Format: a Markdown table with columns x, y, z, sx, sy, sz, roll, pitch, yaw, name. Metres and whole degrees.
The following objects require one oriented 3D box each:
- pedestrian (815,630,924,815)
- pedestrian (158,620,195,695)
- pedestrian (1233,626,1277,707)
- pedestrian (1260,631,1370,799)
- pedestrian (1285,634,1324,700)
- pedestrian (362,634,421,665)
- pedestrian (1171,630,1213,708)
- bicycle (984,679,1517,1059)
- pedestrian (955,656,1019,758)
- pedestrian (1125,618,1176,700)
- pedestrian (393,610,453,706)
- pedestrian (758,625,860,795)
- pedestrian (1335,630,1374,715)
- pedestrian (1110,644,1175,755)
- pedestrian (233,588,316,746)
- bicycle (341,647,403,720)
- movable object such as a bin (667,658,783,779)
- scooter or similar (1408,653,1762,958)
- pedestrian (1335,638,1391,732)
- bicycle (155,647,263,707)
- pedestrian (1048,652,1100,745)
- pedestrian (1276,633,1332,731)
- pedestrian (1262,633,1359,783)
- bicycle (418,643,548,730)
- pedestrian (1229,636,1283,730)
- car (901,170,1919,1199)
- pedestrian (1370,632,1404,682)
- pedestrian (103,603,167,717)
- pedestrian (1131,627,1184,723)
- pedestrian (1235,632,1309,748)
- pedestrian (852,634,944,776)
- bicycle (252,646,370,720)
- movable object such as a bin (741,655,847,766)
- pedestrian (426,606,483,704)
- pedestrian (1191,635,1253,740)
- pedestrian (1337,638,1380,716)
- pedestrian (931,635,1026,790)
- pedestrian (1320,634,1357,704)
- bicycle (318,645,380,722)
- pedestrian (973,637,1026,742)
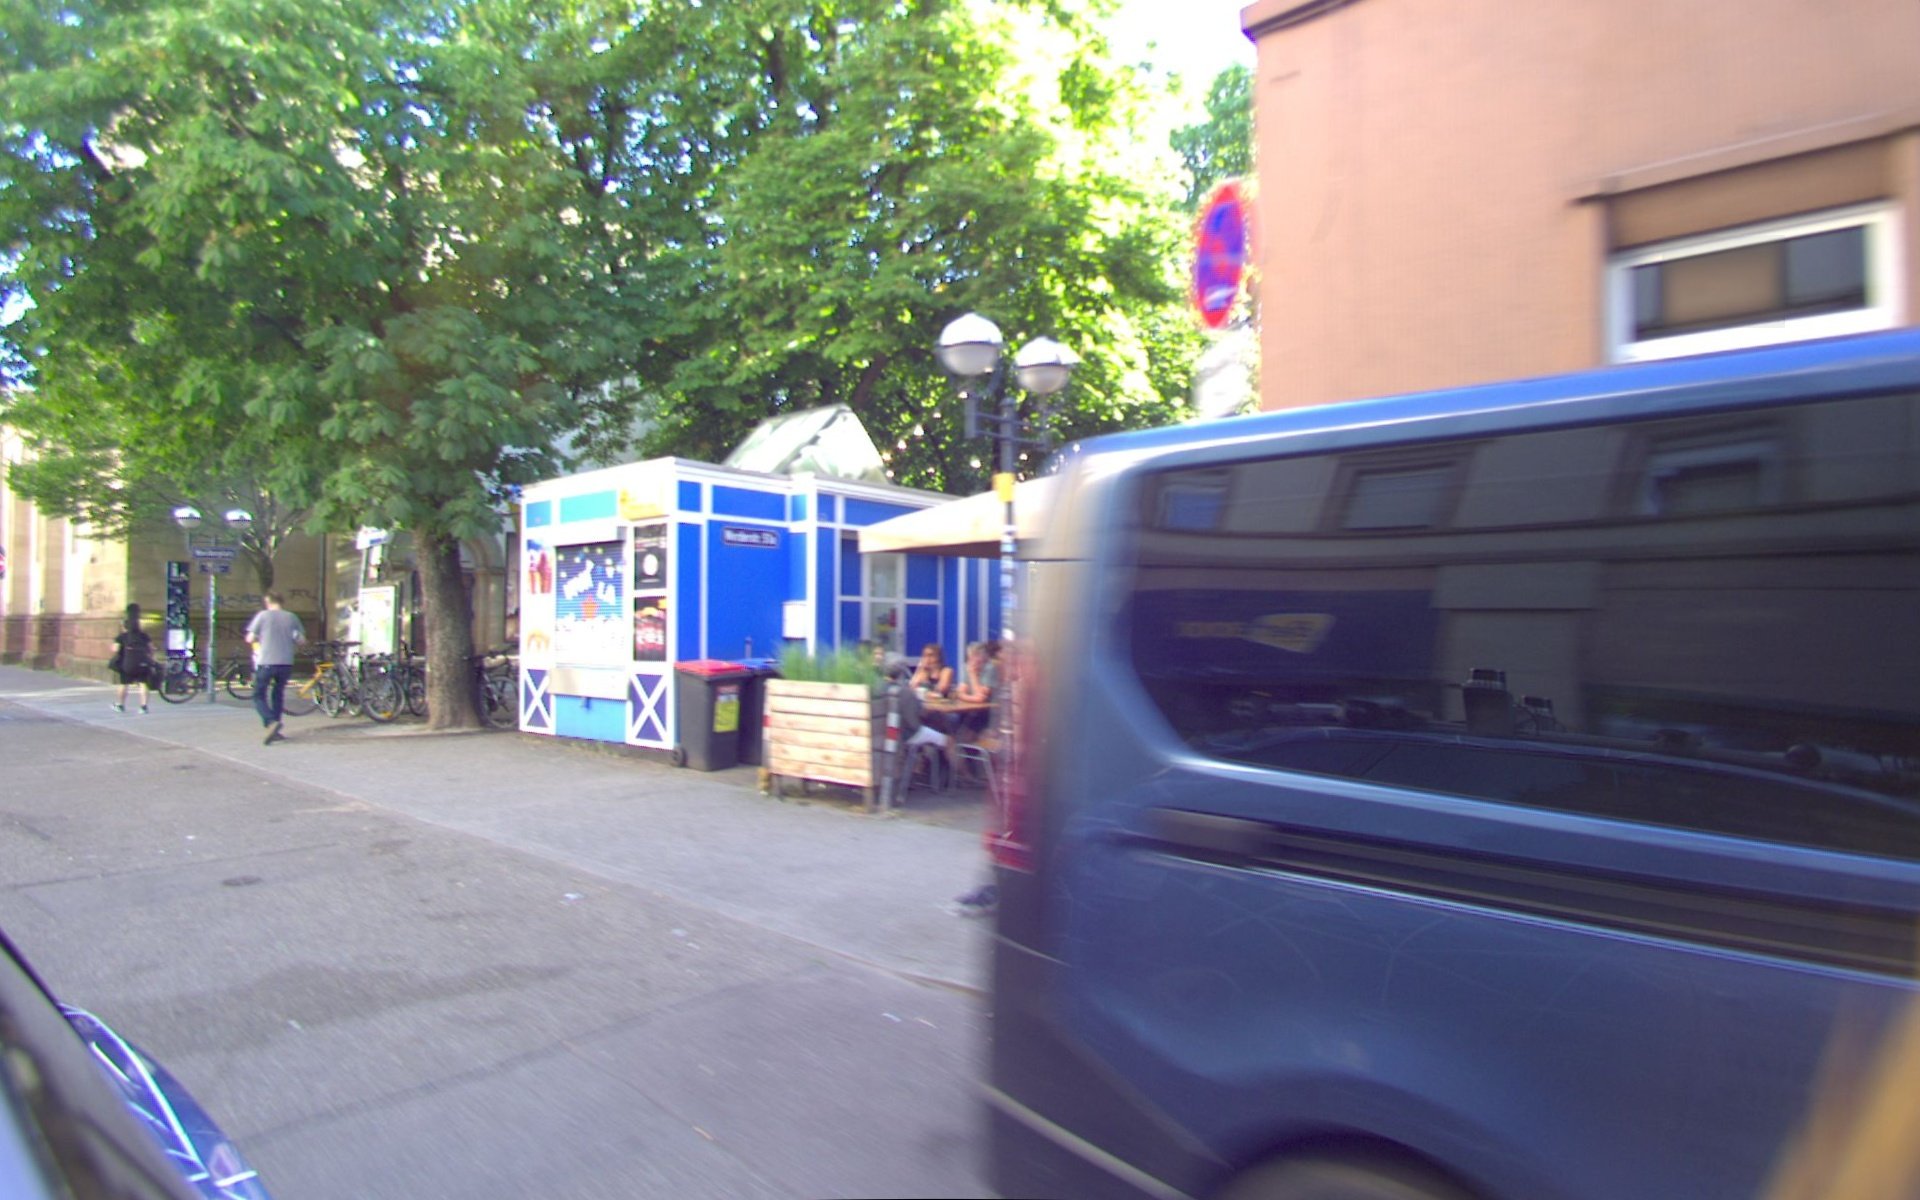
| x | y | z | sx | sy | sz | roll | pitch | yaw | name |
| --- | --- | --- | --- | --- | --- | --- | --- | --- | --- |
| -0.766 | 0.995 | 8.585 | 0.616 | 1.456 | 0.699 | -1 | -1 | 38 | pedestrian |
| -17.134 | 1.247 | 22.133 | 0.713 | 1.605 | 0.474 | -1 | -1 | 37 | pedestrian |
| 5.371 | 1.195 | 18.431 | 0.621 | 1.450 | 0.467 | -1 | -2 | 40 | pedestrian |
| 3.079 | 0.957 | 8.770 | 0.691 | 1.371 | 0.671 | -2 | -3 | 39 | pedestrian |
| 7.138 | 1.385 | 20.959 | 0.621 | 1.333 | 0.467 | -2 | -3 | 40 | pedestrian |
| -15.305 | 1.323 | 27.247 | 1.405 | 0.766 | 0.947 | -1 | -1 | 39 | pedestrian |
| 4.421 | 1.310 | 19.264 | 0.621 | 1.450 | 0.467 | -2 | -3 | 40 | pedestrian |
| 1.112 | 0.980 | 4.139 | 1.975 | 1.226 | 0.548 | 0 | -1 | 22 | bicycle |
| 0.322 | 1.237 | 11.881 | 0.425 | 1.129 | 0.649 | -1 | -2 | 40 | pedestrian |
| 3.081 | 0.951 | 16.362 | 0.621 | 1.296 | 0.510 | -2 | -3 | 40 | pedestrian |
| -10.611 | 1.110 | 19.994 | 1.002 | 1.839 | 0.687 | -1 | -1 | 38 | pedestrian |
| -1.373 | 0.960 | 9.237 | 0.616 | 1.456 | 0.699 | -1 | -1 | 38 | pedestrian |
| 6.552 | 1.189 | 16.800 | 0.472 | 1.372 | 0.495 | -1 | -1 | 40 | pedestrian |
| 2.290 | 1.227 | 12.724 | 0.621 | 1.351 | 0.507 | -2 | -3 | 40 | pedestrian |
| -8.315 | 0.781 | 12.273 | 0.697 | 1.847 | 0.640 | -1 | 0 | 39 | pedestrian |
| -8.923 | 1.245 | 15.340 | 1.577 | 1.054 | 0.289 | -3 | -2 | 40 | bicycle |
| -2.378 | 1.166 | 10.247 | 0.773 | 1.095 | 0.861 | -1 | -1 | 40 | movable object such as a bin |
| 2.906 | 0.885 | 4.795 | 1.390 | 1.226 | 0.344 | -1 | -1 | 39 | scooter or similar |
| 5.862 | 1.225 | 14.720 | 0.621 | 1.329 | 0.467 | -2 | -3 | 40 | pedestrian |
| -14.673 | 1.483 | 19.812 | 0.346 | 1.073 | 1.674 | -1 | -1 | 37 | bicycle |
| 1.399 | 1.193 | 12.421 | 0.425 | 1.079 | 0.507 | -1 | -2 | 40 | pedestrian |
| 4.959 | 1.174 | 14.613 | 0.621 | 1.372 | 0.467 | -2 | -3 | 40 | pedestrian |
| 3.362 | 1.007 | 9.708 | 0.691 | 1.371 | 0.611 | -2 | -3 | 39 | pedestrian |
| -6.676 | 1.178 | 14.137 | 2.027 | 1.139 | 0.494 | -1 | -1 | 26 | bicycle |
| 4.415 | 1.225 | 15.110 | 0.621 | 1.372 | 0.467 | -2 | -3 | 40 | pedestrian |
| 2.529 | 0.466 | 1.100 | 5.293 | 1.893 | 1.999 | -2 | -2 | 41 | car |
| 11.598 | 1.538 | 27.468 | 0.725 | 1.343 | 0.467 | -2 | -3 | 40 | pedestrian |
| -14.129 | 1.007 | 17.339 | 0.719 | 1.887 | 0.709 | -1 | -1 | 39 | pedestrian |
| 3.035 | 1.139 | 15.562 | 0.621 | 1.430 | 0.510 | -2 | -3 | 40 | pedestrian |
| 3.753 | 1.061 | 12.170 | 0.677 | 1.351 | 0.552 | -2 | -3 | 40 | pedestrian |
| -0.620 | 1.020 | 10.183 | 0.616 | 1.341 | 0.699 | -1 | -1 | 38 | pedestrian |
| -10.364 | 1.302 | 16.184 | 1.553 | 1.090 | 0.347 | 0 | -1 | -40 | bicycle |
| -1.793 | 1.162 | 10.941 | 0.745 | 1.095 | 0.861 | -1 | -1 | 40 | movable object such as a bin |
| -9.793 | 1.049 | 19.619 | 0.687 | 1.849 | 0.754 | -1 | -1 | 37 | pedestrian |
| 3.431 | 1.133 | 13.250 | 0.621 | 1.329 | 0.507 | -2 | -3 | 40 | pedestrian |
| 7.564 | 1.451 | 19.221 | 0.621 | 1.450 | 0.467 | -2 | -3 | 40 | pedestrian |
| 0.184 | 1.034 | 9.664 | 0.616 | 1.386 | 0.699 | -1 | -1 | 38 | pedestrian |
| 8.271 | 1.502 | 22.134 | 0.621 | 1.496 | 0.467 | -2 | -3 | 40 | pedestrian |
| -9.125 | 1.224 | 15.095 | 1.577 | 1.091 | 0.289 | -2 | -2 | 40 | bicycle |
| 0.501 | 1.106 | 12.726 | 0.514 | 1.273 | 0.420 | -1 | -2 | 41 | pedestrian |
